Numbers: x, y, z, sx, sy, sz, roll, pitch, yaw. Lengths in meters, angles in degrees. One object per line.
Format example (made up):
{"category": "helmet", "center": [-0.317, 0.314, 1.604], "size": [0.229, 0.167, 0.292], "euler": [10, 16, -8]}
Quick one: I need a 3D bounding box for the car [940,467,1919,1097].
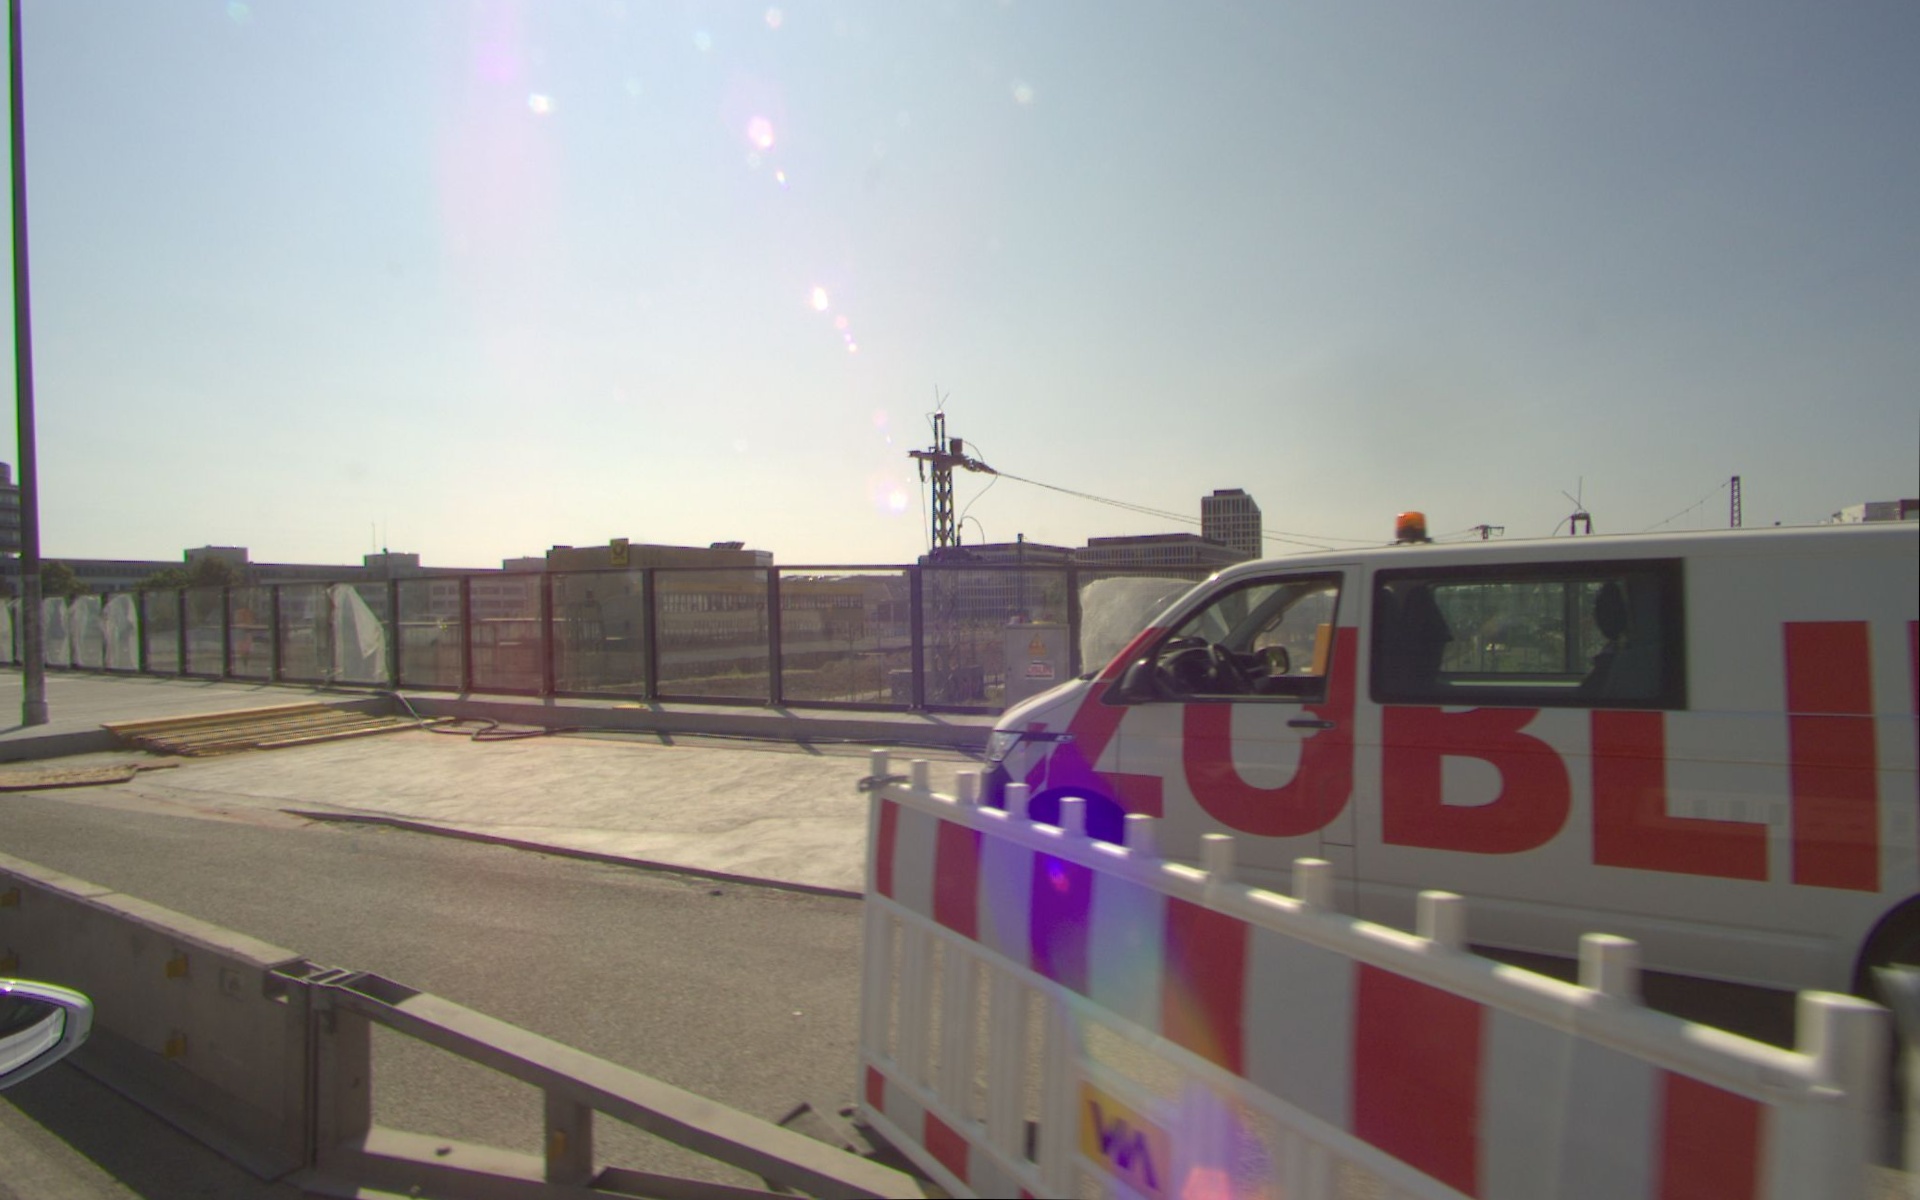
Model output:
{"category": "car", "center": [2.415, 0.634, 4.850], "size": [4.821, 2.059, 1.875], "euler": [-1, -1, 32]}
